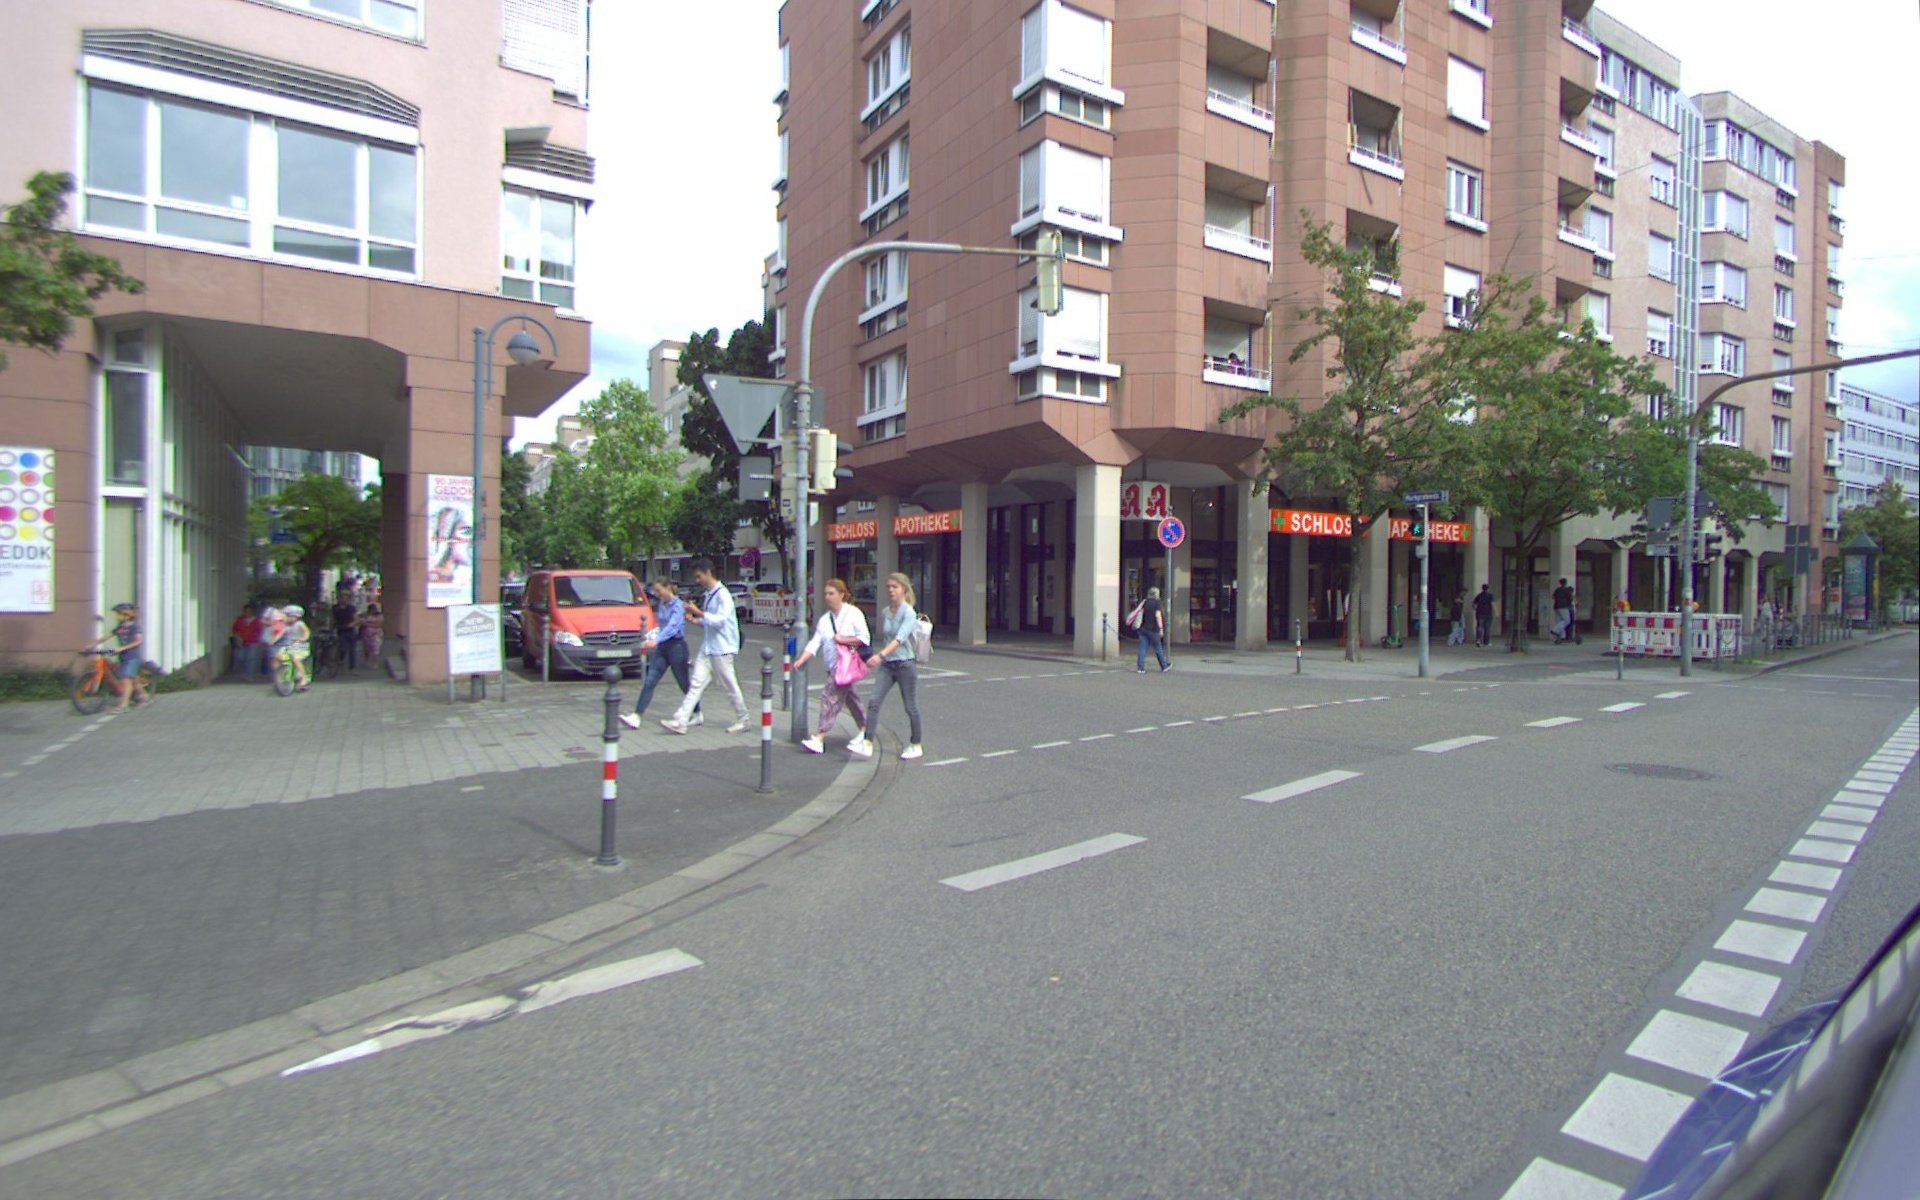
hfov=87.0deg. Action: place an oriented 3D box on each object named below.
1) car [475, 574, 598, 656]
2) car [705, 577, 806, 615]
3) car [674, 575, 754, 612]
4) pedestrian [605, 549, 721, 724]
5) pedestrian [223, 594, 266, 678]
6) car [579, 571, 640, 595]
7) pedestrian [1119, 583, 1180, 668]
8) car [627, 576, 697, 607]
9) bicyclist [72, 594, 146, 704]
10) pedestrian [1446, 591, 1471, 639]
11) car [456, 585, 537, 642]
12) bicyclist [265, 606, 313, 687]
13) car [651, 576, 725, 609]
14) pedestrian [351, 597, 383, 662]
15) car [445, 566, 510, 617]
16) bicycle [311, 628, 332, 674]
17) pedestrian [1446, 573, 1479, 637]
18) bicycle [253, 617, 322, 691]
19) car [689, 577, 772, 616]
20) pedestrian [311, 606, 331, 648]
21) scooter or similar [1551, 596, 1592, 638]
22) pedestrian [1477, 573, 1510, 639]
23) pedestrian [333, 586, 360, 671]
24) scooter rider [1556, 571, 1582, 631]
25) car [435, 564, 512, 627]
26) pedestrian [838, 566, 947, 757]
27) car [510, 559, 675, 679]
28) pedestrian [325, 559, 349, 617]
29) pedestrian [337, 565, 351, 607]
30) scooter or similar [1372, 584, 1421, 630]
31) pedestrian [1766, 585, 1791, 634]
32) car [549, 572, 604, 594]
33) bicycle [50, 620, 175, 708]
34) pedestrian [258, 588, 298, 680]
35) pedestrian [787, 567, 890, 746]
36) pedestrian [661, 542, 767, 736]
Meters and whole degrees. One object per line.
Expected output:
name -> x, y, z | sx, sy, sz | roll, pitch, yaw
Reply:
car -> -9.827, 0.248, 23.238 | 1.961, 1.609, 4.848 | -2, 2, -30
car -> -8.956, -0.215, 44.710 | 1.835, 1.576, 4.407 | 1, 1, 33
car -> -11.944, -0.362, 49.311 | 1.827, 1.698, 3.970 | 1, 2, 22
pedestrian -> -3.092, 0.353, 10.544 | 1.002, 1.722, 0.654 | 0, 1, -35
pedestrian -> -14.074, 0.684, 19.919 | 0.662, 1.599, 0.652 | 0, 1, -33
car -> -26.151, -1.277, 75.572 | 3.931, 1.698, 1.846 | -1, 2, -41
pedestrian -> 3.556, 0.453, 18.971 | 0.929, 1.557, 0.678 | 0, 1, -35
car -> -17.094, -0.506, 58.197 | 1.827, 1.698, 3.970 | 1, 2, 22
bicyclist -> -9.972, 0.562, 11.869 | 0.471, 1.260, 0.498 | 0, 0, -5
pedestrian -> 14.003, 0.415, 28.446 | 0.476, 1.340, 0.488 | 0, 1, 5
car -> -13.073, 0.319, 28.430 | 1.692, 1.422, 3.985 | -2, 2, -30
bicyclist -> -9.236, 0.630, 13.948 | 0.426, 1.079, 0.499 | 0, 1, -17
car -> -14.493, -0.452, 54.127 | 1.827, 1.698, 3.970 | 1, 2, 22
pedestrian -> -13.299, 0.647, 22.691 | 0.607, 1.431, 0.652 | 0, 1, -33
car -> -19.319, -0.369, 40.421 | 1.947, 1.924, 4.690 | 0, 1, -30
bicycle -> -13.099, 1.034, 20.758 | 0.347, 0.848, 1.354 | 0, 1, -33
pedestrian -> 14.584, 0.137, 29.378 | 0.644, 1.822, 0.554 | 0, 1, -12
bicycle -> -9.239, 0.722, 13.943 | 0.443, 0.926, 1.286 | 0, 1, -17
car -> -10.609, -0.222, 47.070 | 1.827, 1.698, 3.970 | 1, 2, 22
pedestrian -> -13.593, 0.568, 21.526 | 0.357, 0.884, 0.427 | 0, 1, -33
scooter or similar -> 18.183, 0.497, 30.093 | 1.303, 1.221, 0.476 | 0, 1, -29
pedestrian -> 14.859, 0.158, 28.204 | 0.644, 1.822, 0.554 | 0, 1, -32
pedestrian -> -12.809, 0.578, 21.135 | 0.471, 1.746, 0.591 | 0, 1, -33
scooter rider -> 18.058, 0.020, 30.009 | 0.542, 1.742, 0.464 | 0, 1, -31
car -> -16.072, -0.188, 33.313 | 1.947, 1.924, 4.690 | 0, 1, -30
pedestrian -> -0.606, 0.522, 9.145 | 0.835, 1.636, 0.518 | 0, 1, -38
car -> -6.817, 0.236, 18.409 | 1.960, 1.848, 4.848 | -2, 2, -30
pedestrian -> -21.297, -0.411, 34.595 | 0.639, 1.929, 0.620 | 0, 1, -28
pedestrian -> -27.329, -0.624, 44.897 | 0.547, 1.815, 0.565 | 0, 1, -31
scooter or similar -> 11.632, 0.170, 26.960 | 1.379, 1.184, 0.555 | 0, 1, -34
pedestrian -> 28.532, 0.311, 35.260 | 0.811, 1.670, 0.544 | 0, 1, -42
car -> -31.151, -1.394, 82.256 | 3.926, 1.698, 1.728 | -1, 2, -37
bicycle -> -9.968, 0.725, 11.949 | 0.466, 0.926, 1.321 | 0, 1, -5
pedestrian -> -12.174, 0.586, 18.076 | 0.568, 1.599, 0.652 | 0, 1, -32
pedestrian -> -1.168, 0.512, 9.710 | 0.835, 1.636, 0.518 | 0, 1, -36
pedestrian -> -2.480, 0.366, 10.190 | 0.835, 1.851, 0.678 | 0, 1, -36
